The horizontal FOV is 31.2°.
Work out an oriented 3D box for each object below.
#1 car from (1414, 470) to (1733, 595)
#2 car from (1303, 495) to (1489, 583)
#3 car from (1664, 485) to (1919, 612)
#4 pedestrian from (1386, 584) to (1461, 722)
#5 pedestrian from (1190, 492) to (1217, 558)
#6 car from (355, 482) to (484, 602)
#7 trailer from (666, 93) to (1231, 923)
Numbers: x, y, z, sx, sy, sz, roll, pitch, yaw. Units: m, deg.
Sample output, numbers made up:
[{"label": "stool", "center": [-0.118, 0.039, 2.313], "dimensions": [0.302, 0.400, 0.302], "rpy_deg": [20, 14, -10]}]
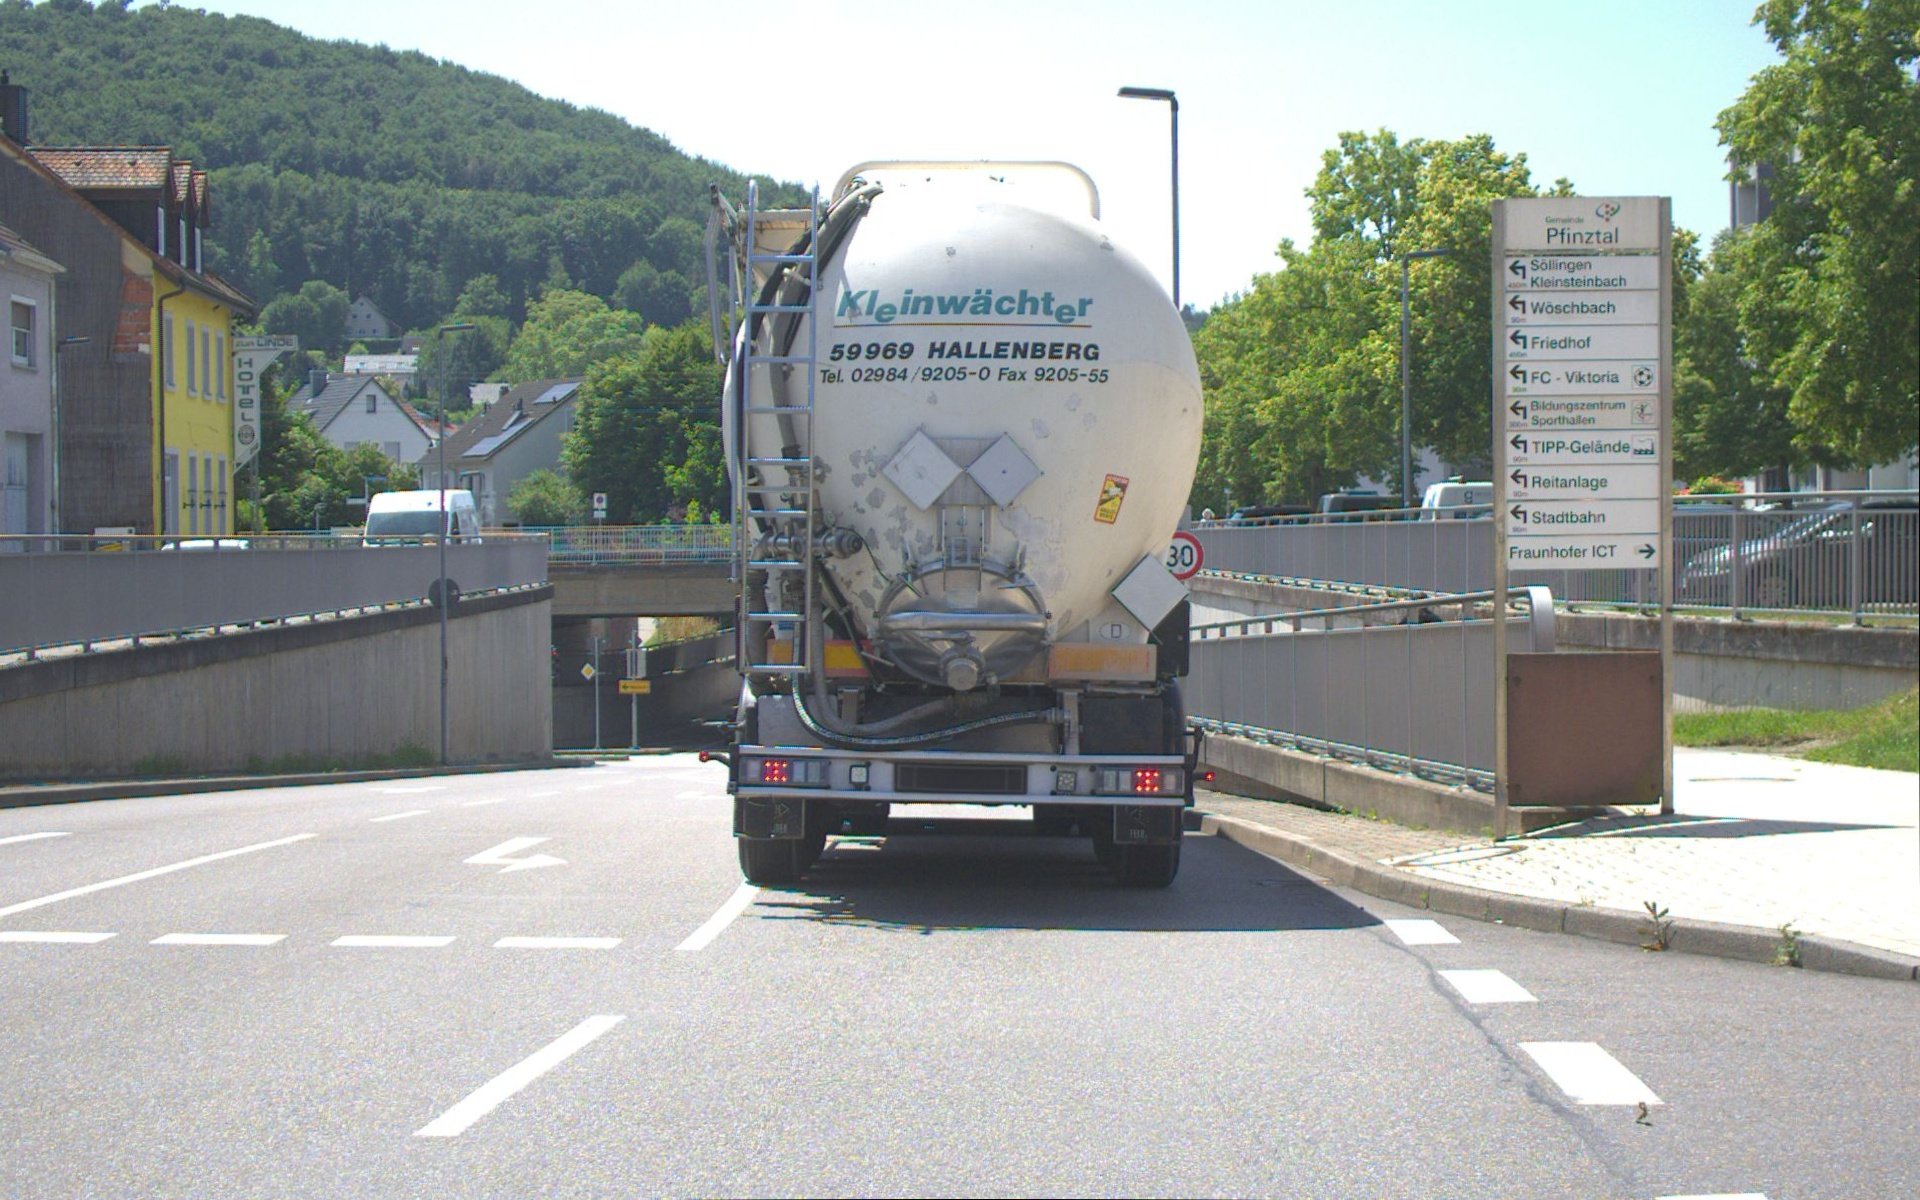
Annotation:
[{"label": "car", "center": [10.494, -1.155, 59.050], "dimensions": [5.112, 2.056, 1.989], "rpy_deg": [0, 1, 0]}, {"label": "car", "center": [9.618, -1.346, 76.004], "dimensions": [3.905, 1.879, 1.686], "rpy_deg": [0, 1, 0]}, {"label": "car", "center": [10.749, -0.634, 41.843], "dimensions": [3.987, 1.493, 1.748], "rpy_deg": [0, 1, 0]}, {"label": "pedestrian", "center": [6.005, 0.690, 44.566], "dimensions": [0.836, 1.776, 0.788], "rpy_deg": [0, -2, -1]}, {"label": "pedestrian", "center": [6.553, -2.019, 92.652], "dimensions": [0.673, 1.773, 0.594], "rpy_deg": [-1, 0, 1]}, {"label": "car", "center": [-11.949, -1.284, 76.385], "dimensions": [2.065, 2.528, 5.662], "rpy_deg": [1, 1, -1]}, {"label": "trailer", "center": [0.038, -0.335, 23.532], "dimensions": [2.735, 4.051, 13.311], "rpy_deg": [1, -1, 1]}]
